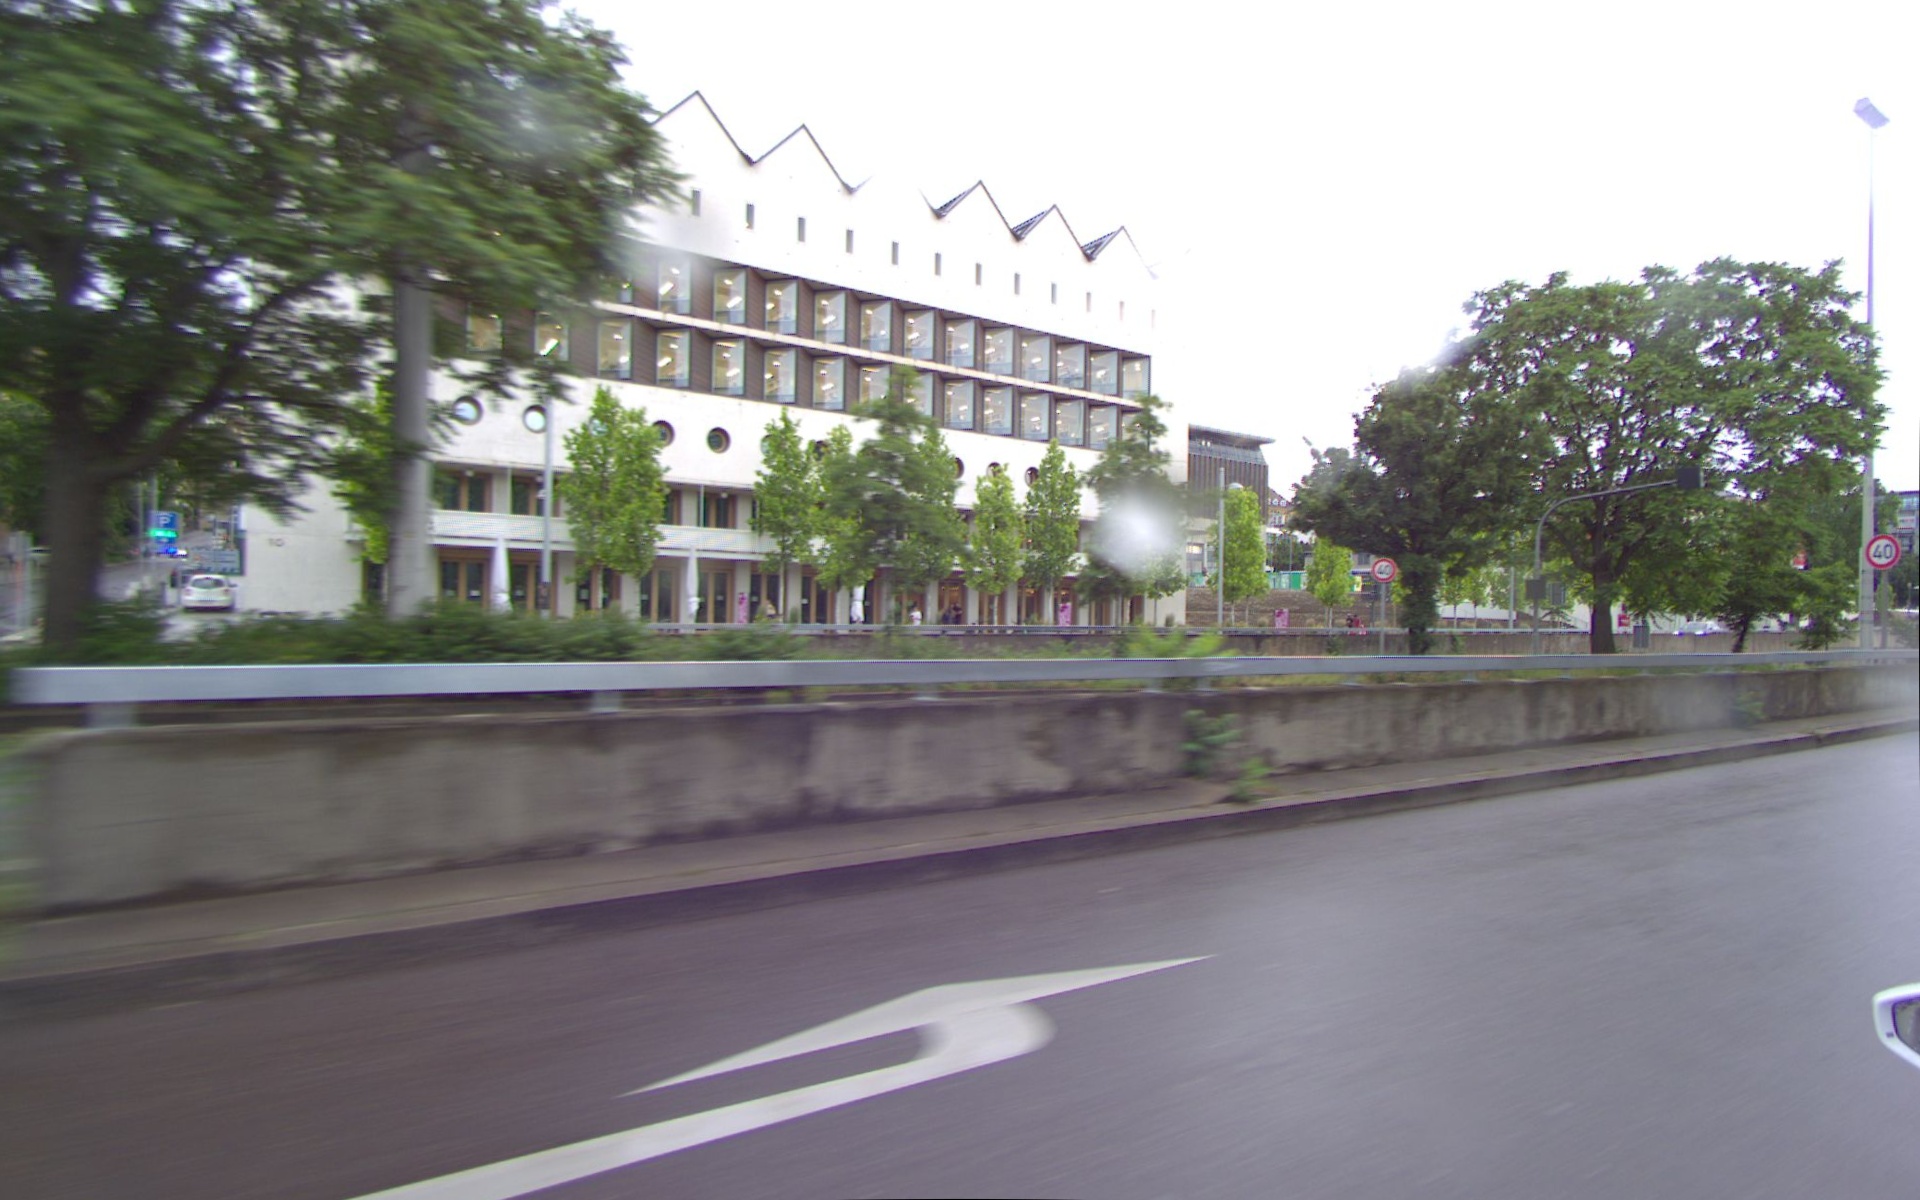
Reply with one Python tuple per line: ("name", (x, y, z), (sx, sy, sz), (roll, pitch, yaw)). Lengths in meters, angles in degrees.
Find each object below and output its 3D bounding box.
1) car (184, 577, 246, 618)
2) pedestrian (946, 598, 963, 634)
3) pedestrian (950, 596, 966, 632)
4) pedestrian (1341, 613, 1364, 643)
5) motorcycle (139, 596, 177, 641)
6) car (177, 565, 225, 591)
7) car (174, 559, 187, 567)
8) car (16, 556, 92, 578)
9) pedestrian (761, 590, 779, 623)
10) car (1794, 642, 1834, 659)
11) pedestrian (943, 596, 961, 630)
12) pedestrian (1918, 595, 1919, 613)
("car", (-31.954, -0.132, 43.156), (1.741, 1.633, 3.502), (2, 0, -31))
("pedestrian", (-0.282, 0.837, 52.758), (0.687, 1.883, 0.741), (2, 0, 10))
("pedestrian", (-0.093, 0.726, 53.605), (0.687, 1.883, 0.741), (2, 0, 10))
("pedestrian", (25.319, 1.818, 64.855), (0.821, 1.891, 1.078), (2, 0, -34))
("motorcycle", (-22.488, 0.509, 28.152), (1.792, 1.198, 0.603), (2, 0, 45))
("car", (-47.038, -1.362, 62.309), (2.014, 1.480, 3.700), (2, 0, -32))
("car", (-100.559, -4.792, 129.599), (0.998, 0.927, 2.491), (2, 0, -31))
("car", (-66.634, -2.427, 73.960), (3.923, 1.383, 1.594), (2, 0, -34))
("pedestrian", (-8.992, 0.294, 47.526), (0.643, 1.535, 0.676), (2, 0, -28))
("car", (63.625, 3.755, 74.851), (3.019, 1.144, 1.478), (2, 0, -34))
("pedestrian", (-0.461, 0.722, 56.222), (0.694, 1.883, 0.734), (2, 0, -31))
("pedestrian", (116.324, 0.483, 121.255), (0.755, 2.120, 0.725), (-1, 4, 22))
